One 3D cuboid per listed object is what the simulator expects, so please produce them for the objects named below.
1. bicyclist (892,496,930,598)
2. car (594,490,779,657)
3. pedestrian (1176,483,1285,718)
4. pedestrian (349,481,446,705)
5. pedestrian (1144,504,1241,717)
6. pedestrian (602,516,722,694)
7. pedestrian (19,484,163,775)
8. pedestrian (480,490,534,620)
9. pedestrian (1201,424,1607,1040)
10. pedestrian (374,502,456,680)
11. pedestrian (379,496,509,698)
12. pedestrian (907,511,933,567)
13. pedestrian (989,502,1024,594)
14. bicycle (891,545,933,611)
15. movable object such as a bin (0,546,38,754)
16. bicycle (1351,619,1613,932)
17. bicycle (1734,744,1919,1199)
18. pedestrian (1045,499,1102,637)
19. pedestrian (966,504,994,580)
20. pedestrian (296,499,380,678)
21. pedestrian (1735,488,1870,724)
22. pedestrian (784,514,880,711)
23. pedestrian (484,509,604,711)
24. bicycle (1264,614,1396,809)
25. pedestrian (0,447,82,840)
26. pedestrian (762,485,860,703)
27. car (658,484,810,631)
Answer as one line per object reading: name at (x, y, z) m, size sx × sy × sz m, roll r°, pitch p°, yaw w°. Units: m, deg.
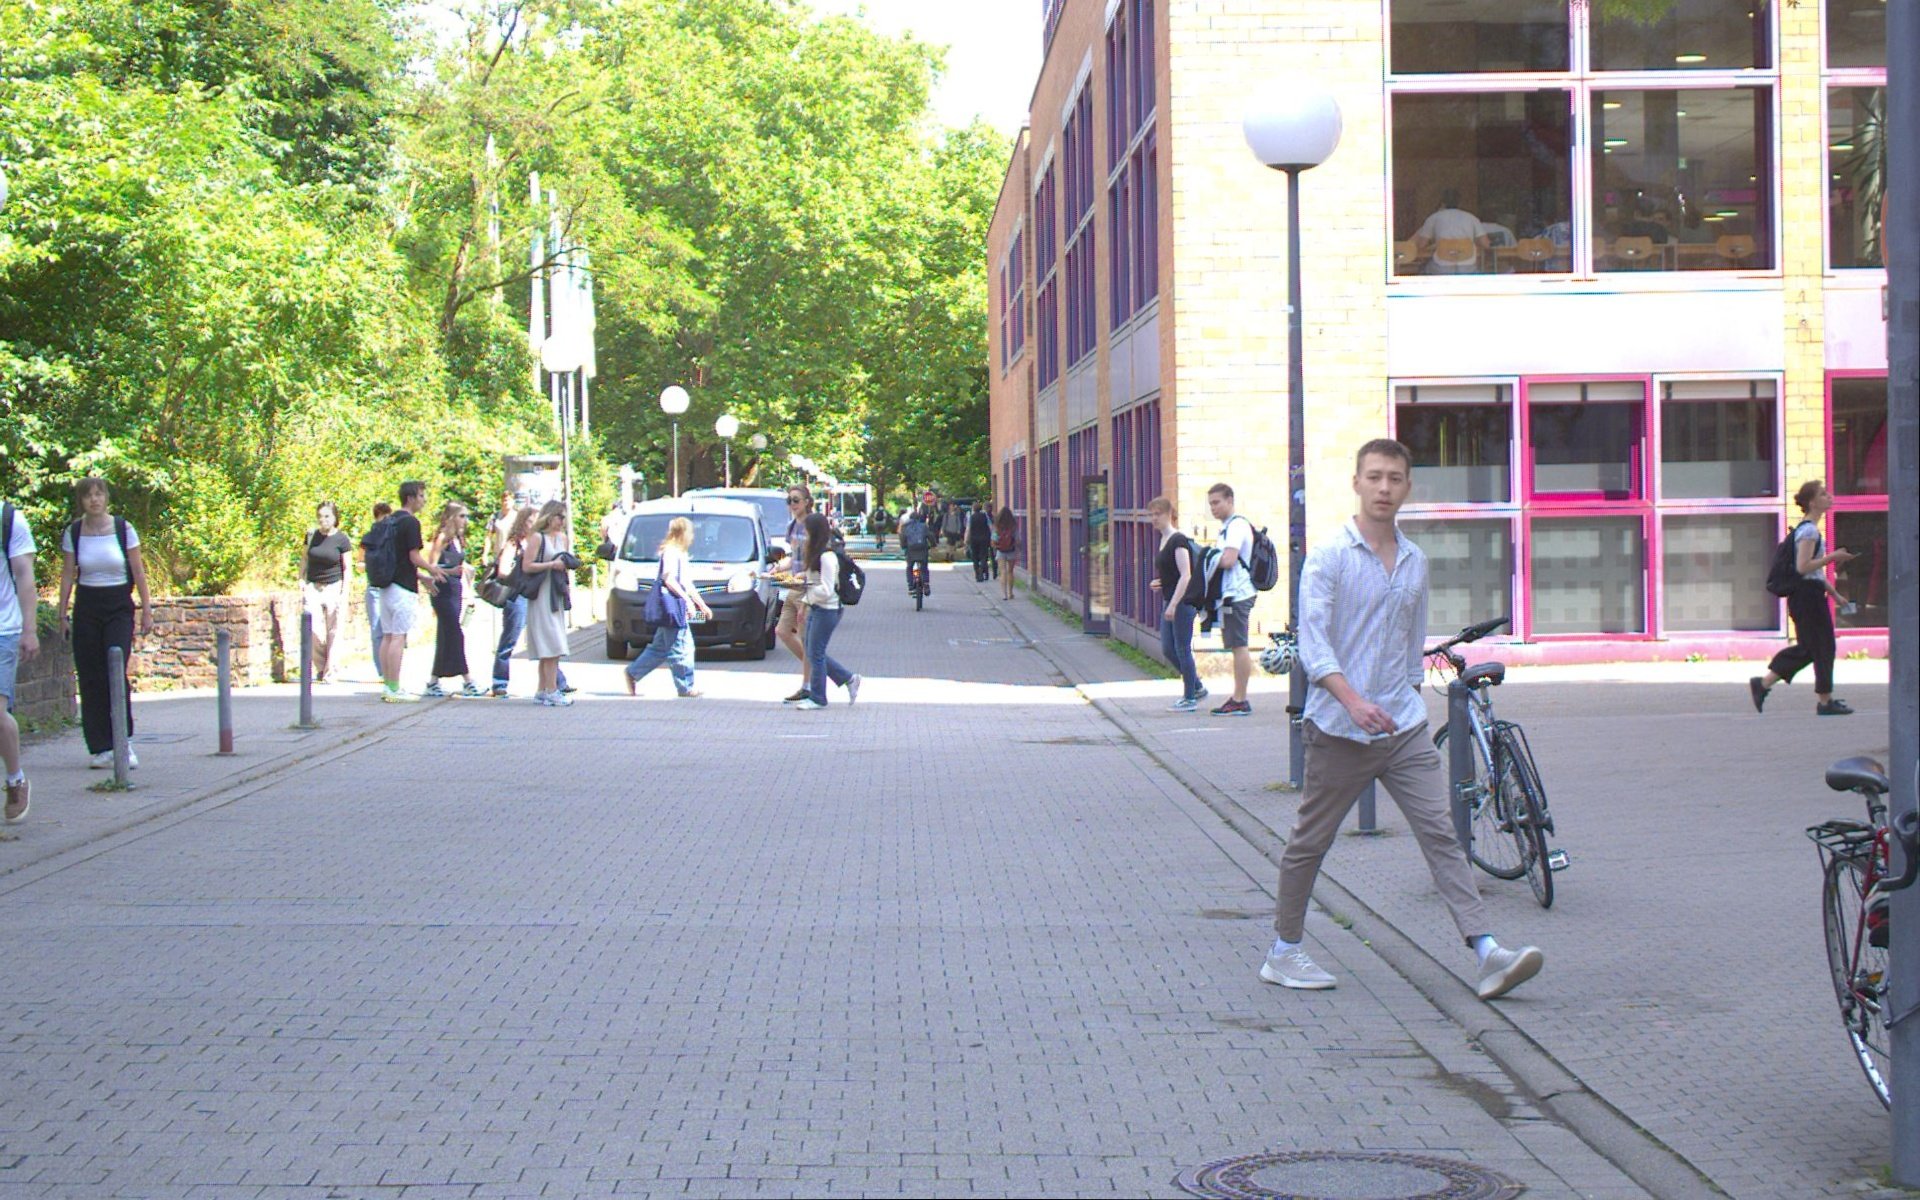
bicyclist at (-0.830, -0.894, 57.893) m, size 0.587 × 1.710 × 0.665 m, roll -1°, pitch 1°, yaw -4°
car at (-3.042, -0.339, 39.022) m, size 1.790 × 1.755 × 4.482 m, roll -1°, pitch 2°, yaw -1°
pedestrian at (2.112, 0.005, 26.770) m, size 0.767 × 1.788 × 0.588 m, roll -2°, pitch 0°, yaw 7°
pedestrian at (-4.657, -0.060, 28.487) m, size 0.682 × 1.838 × 0.783 m, roll 0°, pitch 0°, yaw -1°
pedestrian at (1.862, 0.082, 27.539) m, size 0.697 × 1.667 × 0.588 m, roll -2°, pitch 0°, yaw 7°
pedestrian at (-2.609, 0.037, 30.152) m, size 0.886 × 1.537 × 0.743 m, roll -1°, pitch 1°, yaw 7°
pedestrian at (-5.275, 0.166, 20.908) m, size 0.682 × 1.722 × 1.002 m, roll 0°, pitch 1°, yaw -5°
pedestrian at (-6.443, -0.633, 48.904) m, size 0.682 × 1.838 × 0.783 m, roll 0°, pitch 0°, yaw -1°
pedestrian at (1.390, 0.382, 10.925) m, size 0.783 × 1.839 × 1.118 m, roll 0°, pitch 1°, yaw -25°
pedestrian at (-5.009, -0.083, 31.627) m, size 0.682 × 1.615 × 0.914 m, roll 0°, pitch 0°, yaw -5°
pedestrian at (-4.410, -0.035, 29.394) m, size 0.886 × 1.666 × 0.643 m, roll -2°, pitch 2°, yaw 7°
pedestrian at (-1.222, -1.869, 105.397) m, size 0.725 × 1.667 × 0.748 m, roll -2°, pitch 0°, yaw 1°
pedestrian at (0.859, -0.954, 63.356) m, size 0.586 × 1.667 × 0.699 m, roll -2°, pitch 0°, yaw 1°
bicycle at (-0.816, -0.376, 57.790) m, size 0.587 × 1.080 × 1.908 m, roll -1°, pitch 1°, yaw -4°
movable object such as a bin at (-6.549, 0.318, 22.135) m, size 0.709 × 1.332 × 1.239 m, roll 2°, pitch 1°, yaw 9°
bicycle at (2.005, 0.644, 13.406) m, size 0.708 × 1.089 × 1.749 m, roll 0°, pitch 1°, yaw -2°
bicycle at (2.173, 0.855, 7.727) m, size 0.395 × 0.932 × 1.732 m, roll -3°, pitch 1°, yaw -1°
pedestrian at (1.438, -0.402, 43.733) m, size 0.682 × 1.741 × 0.783 m, roll 0°, pitch 0°, yaw -1°
pedestrian at (0.455, -1.302, 77.201) m, size 0.586 × 1.667 × 0.817 m, roll -2°, pitch 0°, yaw 1°
pedestrian at (-5.702, -0.111, 31.549) m, size 0.682 × 1.615 × 0.979 m, roll 0°, pitch 0°, yaw -5°
pedestrian at (5.931, 0.039, 24.225) m, size 0.852 × 1.645 × 0.588 m, roll 0°, pitch 0°, yaw 7°
pedestrian at (-1.063, 0.100, 28.454) m, size 0.780 × 1.615 × 0.685 m, roll 0°, pitch 0°, yaw -3°
pedestrian at (-3.469, 0.081, 28.711) m, size 0.886 × 1.667 × 0.559 m, roll 0°, pitch 0°, yaw 7°
bicycle at (2.033, 0.591, 19.038) m, size 0.450 × 0.958 × 1.740 m, roll -3°, pitch 1°, yaw -1°
pedestrian at (-4.807, 0.203, 16.904) m, size 0.724 × 1.875 × 1.082 m, roll 0°, pitch 0°, yaw -1°
pedestrian at (-1.276, -0.056, 29.399) m, size 0.825 × 1.838 × 0.685 m, roll 0°, pitch 0°, yaw -3°
car at (-3.162, -0.638, 48.962) m, size 1.883 × 1.967 × 5.215 m, roll 0°, pitch 2°, yaw -1°
